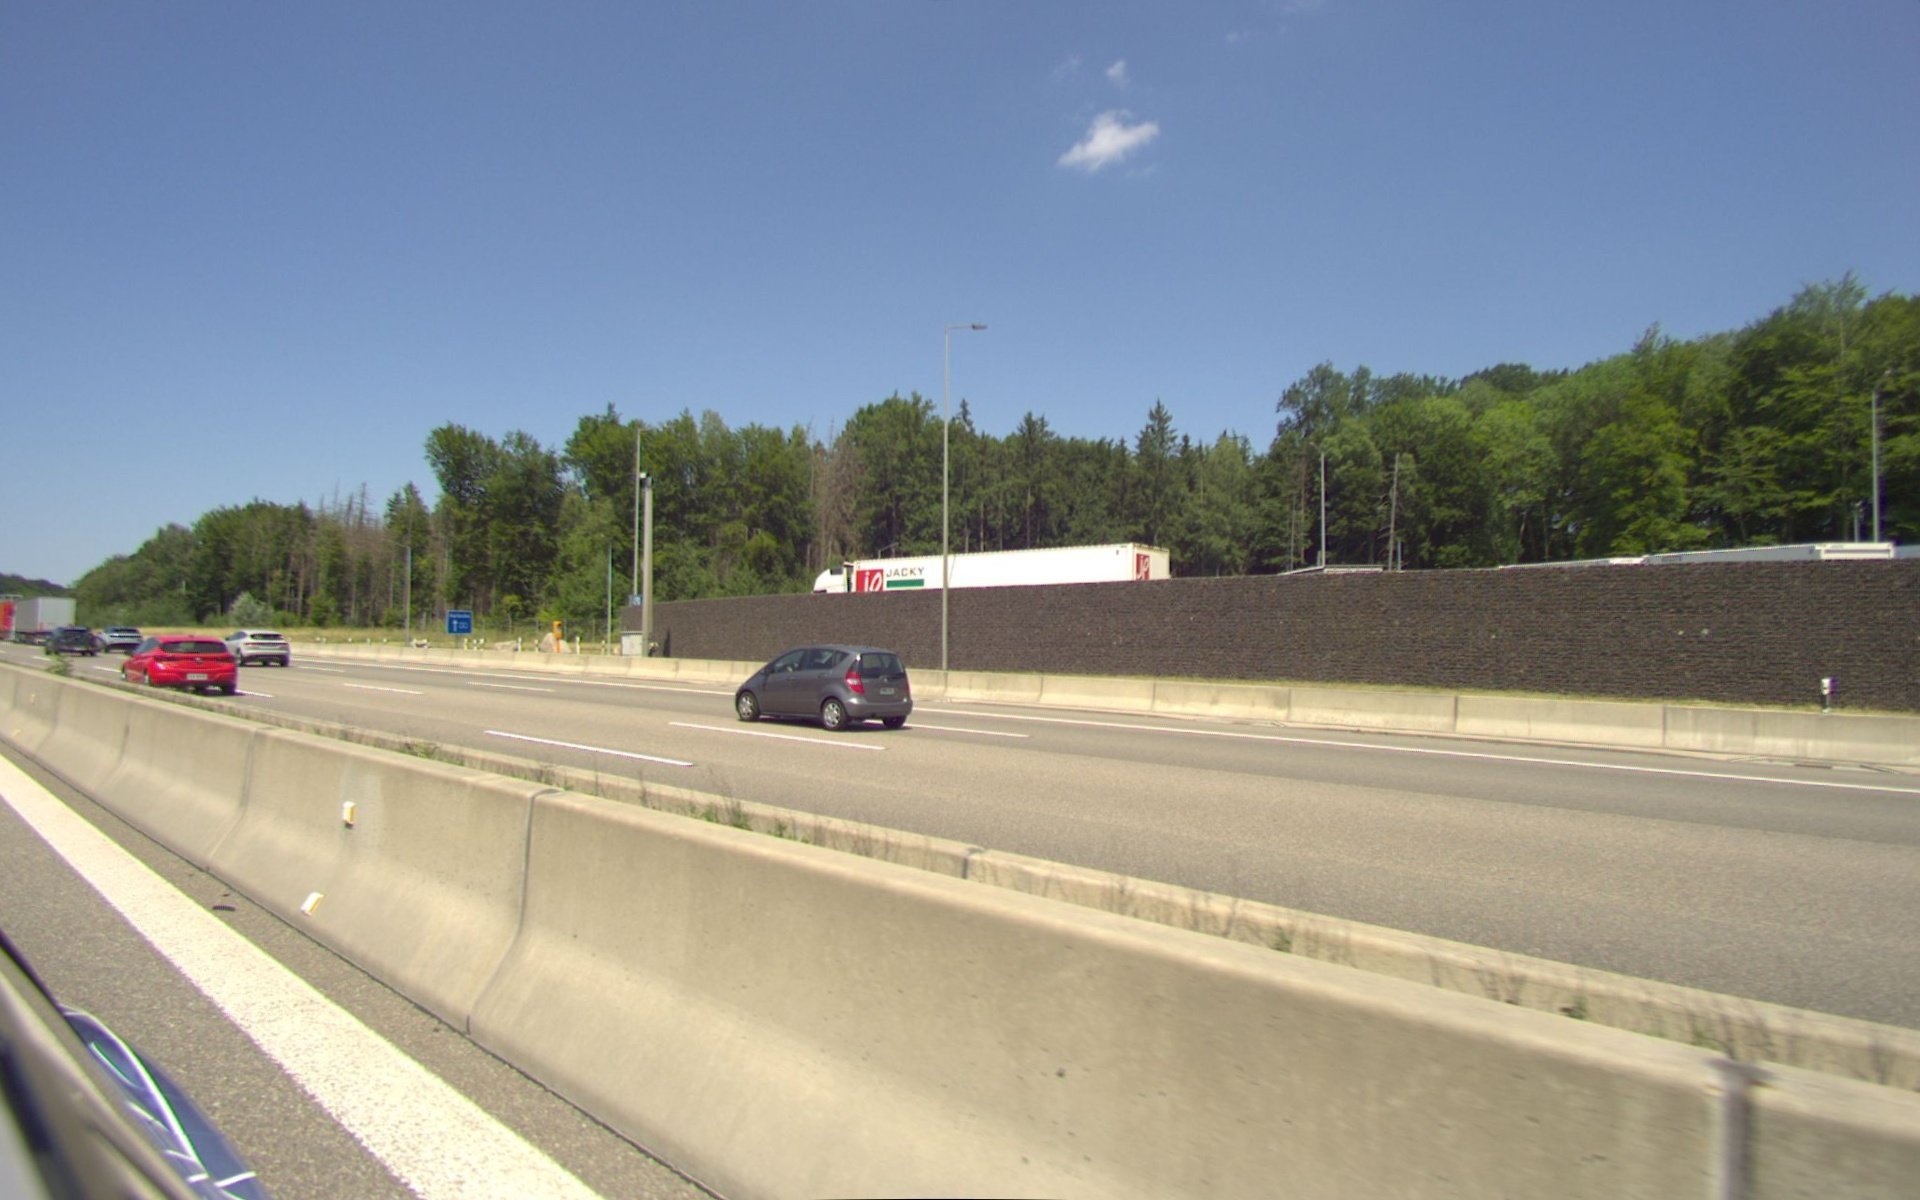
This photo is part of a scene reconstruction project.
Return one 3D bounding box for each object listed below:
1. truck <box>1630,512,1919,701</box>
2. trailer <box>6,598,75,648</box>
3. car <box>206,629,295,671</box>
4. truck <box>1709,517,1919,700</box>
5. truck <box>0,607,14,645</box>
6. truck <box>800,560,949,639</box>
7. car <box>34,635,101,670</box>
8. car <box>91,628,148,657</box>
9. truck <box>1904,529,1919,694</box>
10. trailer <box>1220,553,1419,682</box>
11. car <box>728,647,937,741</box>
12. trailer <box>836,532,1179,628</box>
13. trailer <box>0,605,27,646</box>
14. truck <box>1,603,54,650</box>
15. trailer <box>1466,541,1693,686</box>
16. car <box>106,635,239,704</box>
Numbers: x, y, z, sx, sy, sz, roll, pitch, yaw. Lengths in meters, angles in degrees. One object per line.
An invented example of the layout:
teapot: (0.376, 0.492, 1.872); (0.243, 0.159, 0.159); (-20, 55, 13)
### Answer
truck: (27.630, 0.330, 34.603); (3.179, 5.655, 8.496); (0, -2, -5)
trailer: (-79.442, 2.045, 87.287); (14.460, 4.032, 2.725); (-1, -3, 41)
car: (-32.436, 2.235, 46.201); (5.921, 1.787, 1.972); (-1, -3, 41)
truck: (31.108, 0.334, 33.507); (3.179, 5.655, 11.549); (0, -2, -5)
truck: (-105.522, 2.848, 110.456); (6.469, 4.080, 2.501); (-1, -3, 41)
truck: (-3.737, 0.048, 43.479); (6.199, 3.148, 2.896); (-1, -2, 41)
car: (-49.400, 2.861, 55.968); (5.921, 1.787, 1.972); (-1, -3, 41)
car: (-53.871, 2.718, 64.835); (5.036, 1.787, 1.972); (-1, -3, 41)
truck: (34.965, 0.243, 29.550); (3.179, 5.655, 11.549); (0, -2, -5)
trailer: (16.257, 0.930, 47.777); (3.175, 5.111, 14.580); (0, -2, -4)
car: (-2.530, 1.722, 19.591); (4.053, 1.567, 1.705); (-1, -2, 39)
trailer: (1.220, -0.524, 39.110); (14.602, 3.148, 2.941); (-1, -2, 41)
trailer: (-100.557, 2.693, 106.068); (14.175, 4.081, 2.544); (-1, -3, 41)
truck: (-84.336, 2.414, 91.526); (6.778, 4.062, 2.706); (-1, -3, 41)
trailer: (26.805, 0.696, 44.700); (3.179, 5.655, 9.949); (0, -2, -5)
car: (-19.953, 1.681, 25.571); (5.042, 1.525, 1.712); (-1, -2, 41)
